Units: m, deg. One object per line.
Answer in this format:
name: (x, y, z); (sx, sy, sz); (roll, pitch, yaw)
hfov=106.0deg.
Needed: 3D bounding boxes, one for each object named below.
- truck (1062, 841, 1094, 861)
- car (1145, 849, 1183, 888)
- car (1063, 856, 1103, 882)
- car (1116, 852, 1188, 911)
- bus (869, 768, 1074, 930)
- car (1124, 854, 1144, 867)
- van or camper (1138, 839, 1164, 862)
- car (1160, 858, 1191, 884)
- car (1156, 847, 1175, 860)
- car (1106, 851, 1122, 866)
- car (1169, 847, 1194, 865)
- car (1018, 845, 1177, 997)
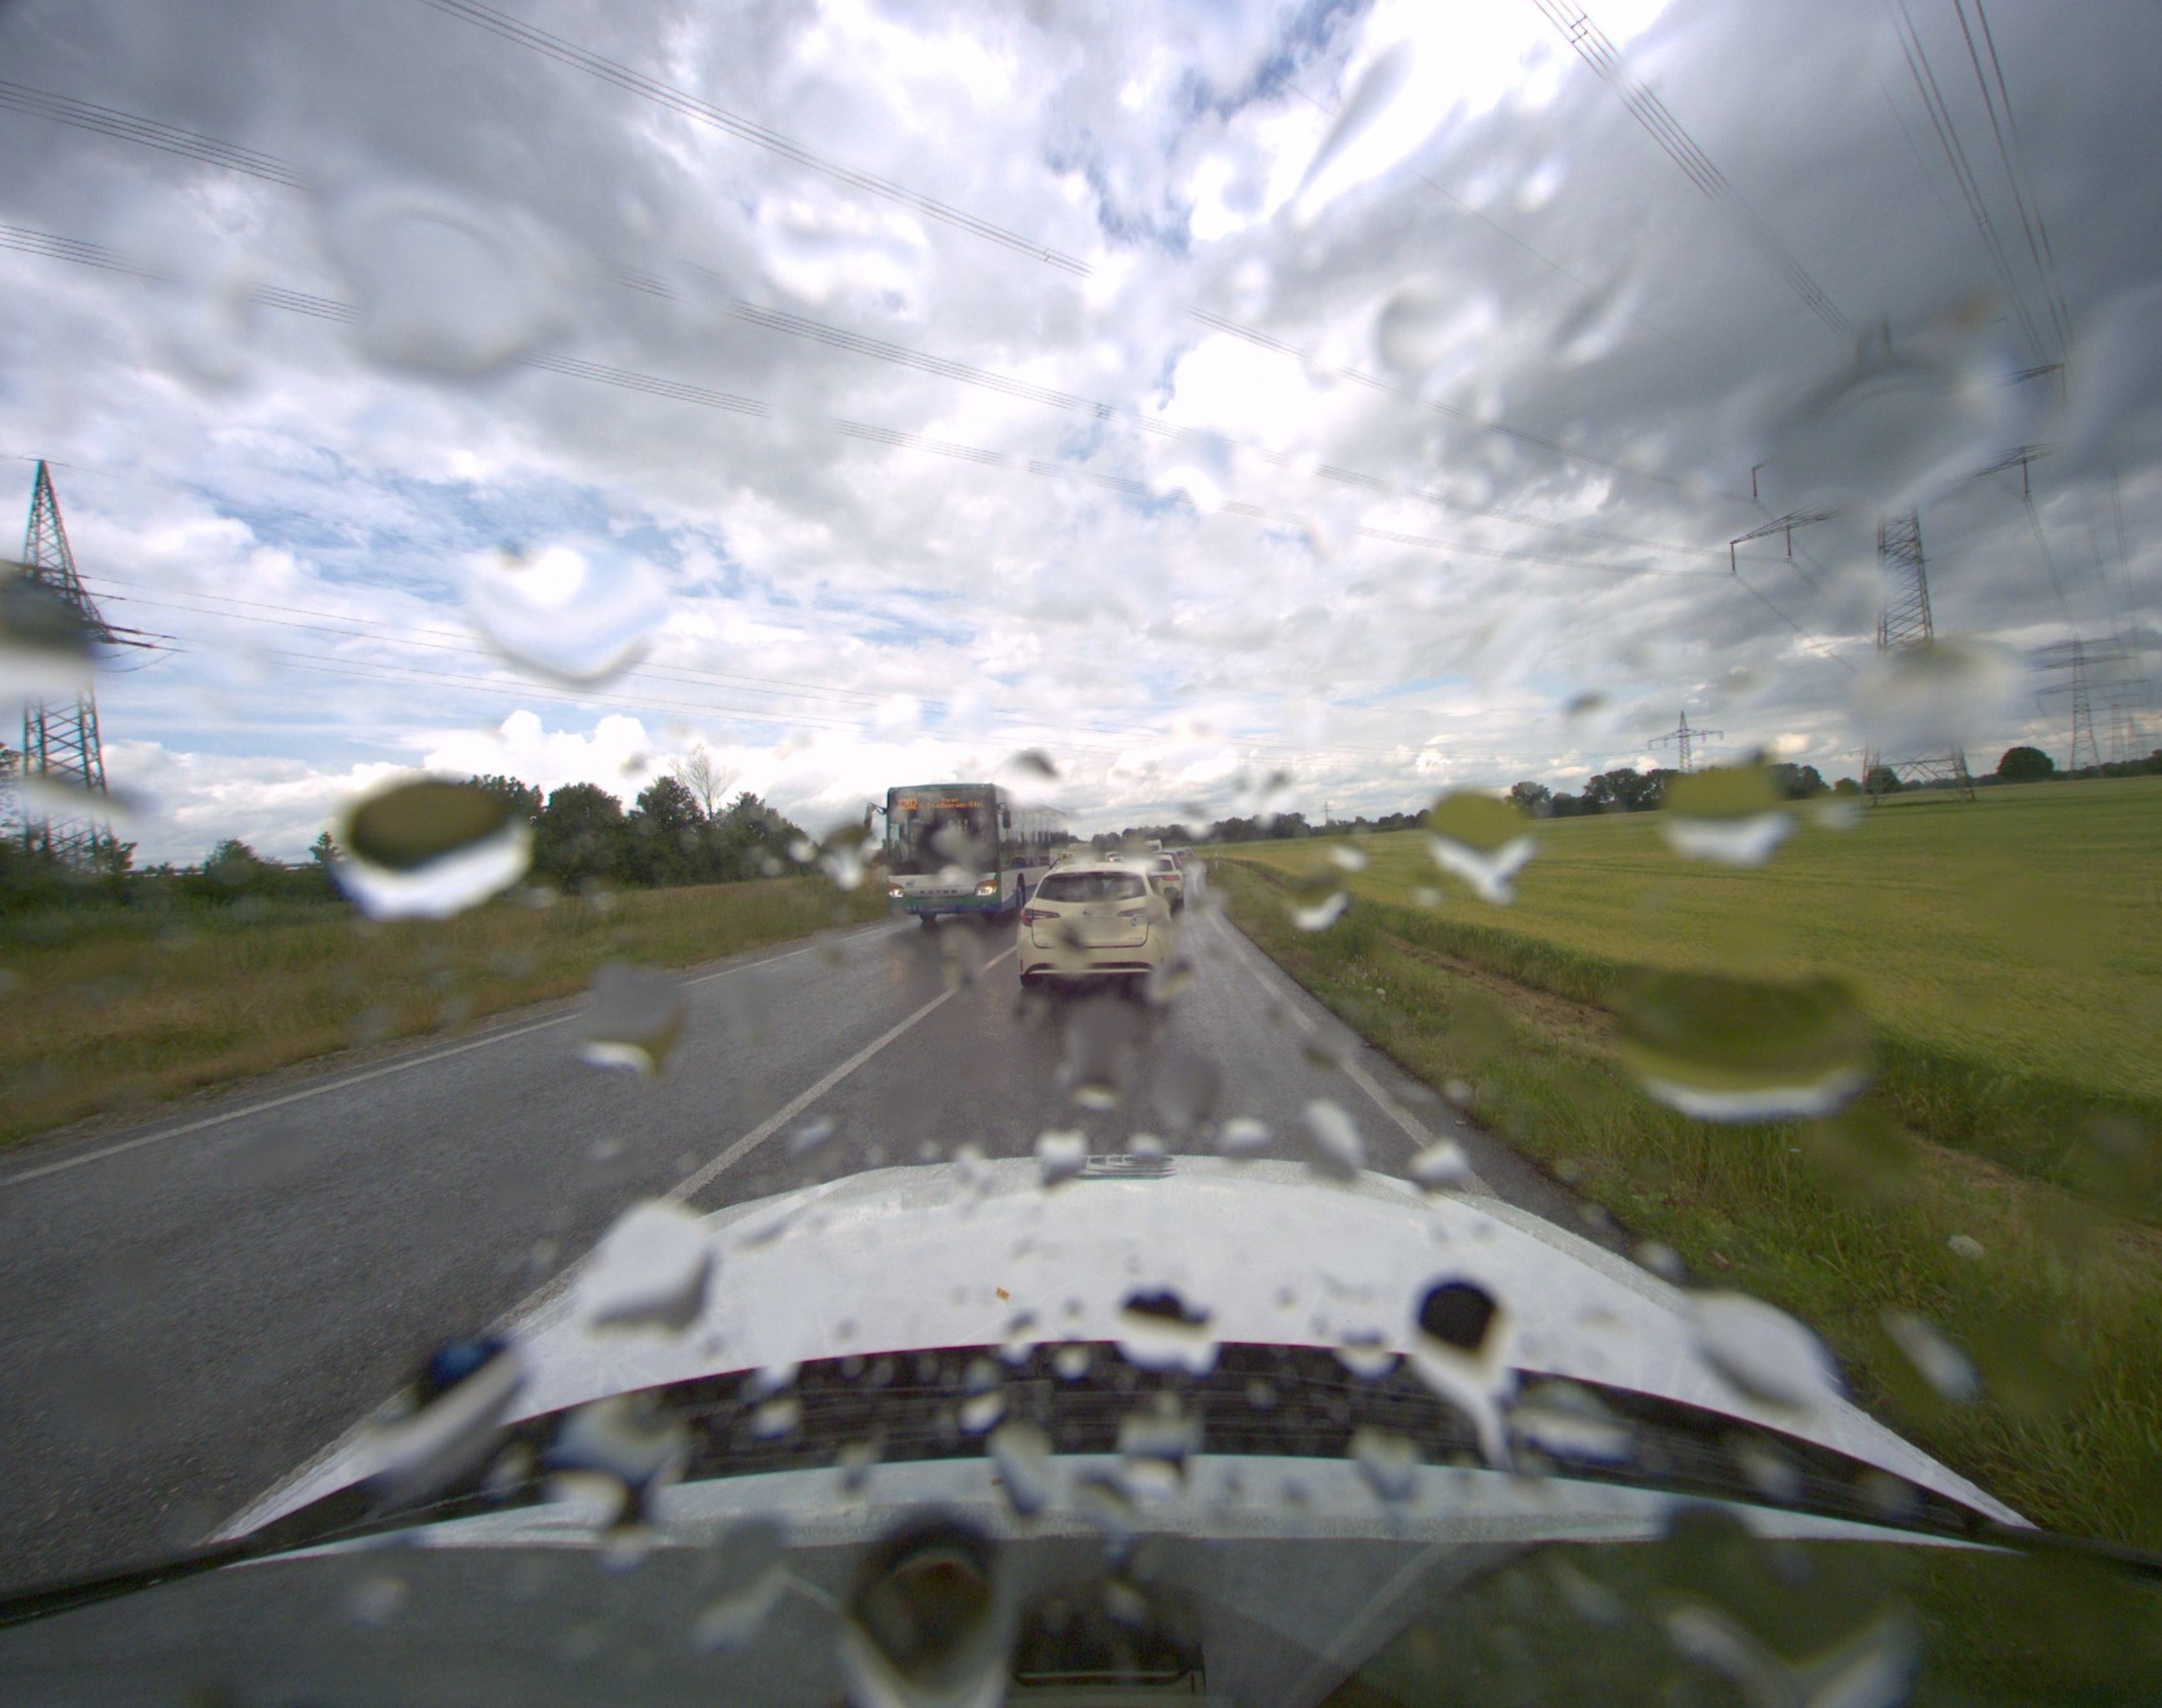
truck: (-0.548, -0.505, 140.866); (3.023, 3.209, 8.177); (0, -1, -20)
car: (3.825, 0.656, 37.265); (1.604, 1.659, 3.745); (-1, -1, 7)
car: (0.160, 0.788, 42.332); (1.711, 1.251, 4.005); (-1, -1, 5)
car: (2.116, 0.708, 23.466); (1.831, 1.492, 4.617); (-1, 0, 7)
bus: (-2.342, -0.106, 23.133); (2.744, 3.298, 12.524); (-1, 0, 6)
car: (6.002, 0.716, 92.137); (1.839, 1.388, 4.284); (-1, 0, -1)
van or camper: (9.224, -0.497, 107.441); (2.531, 2.896, 6.735); (-1, 0, -3)
car: (5.486, 0.991, 46.952); (1.603, 1.413, 3.748); (-1, -1, 9)
car: (9.536, -0.021, 92.528); (1.777, 1.413, 3.738); (-1, -1, 0)
car: (4.364, 0.558, 106.996); (1.839, 1.855, 4.445); (-1, 0, -1)
car: (8.184, 0.201, 66.276); (1.949, 1.413, 4.401); (-1, -1, 8)
car: (0.380, 0.735, 10.343); (1.604, 1.562, 3.745); (-1, -1, 7)
